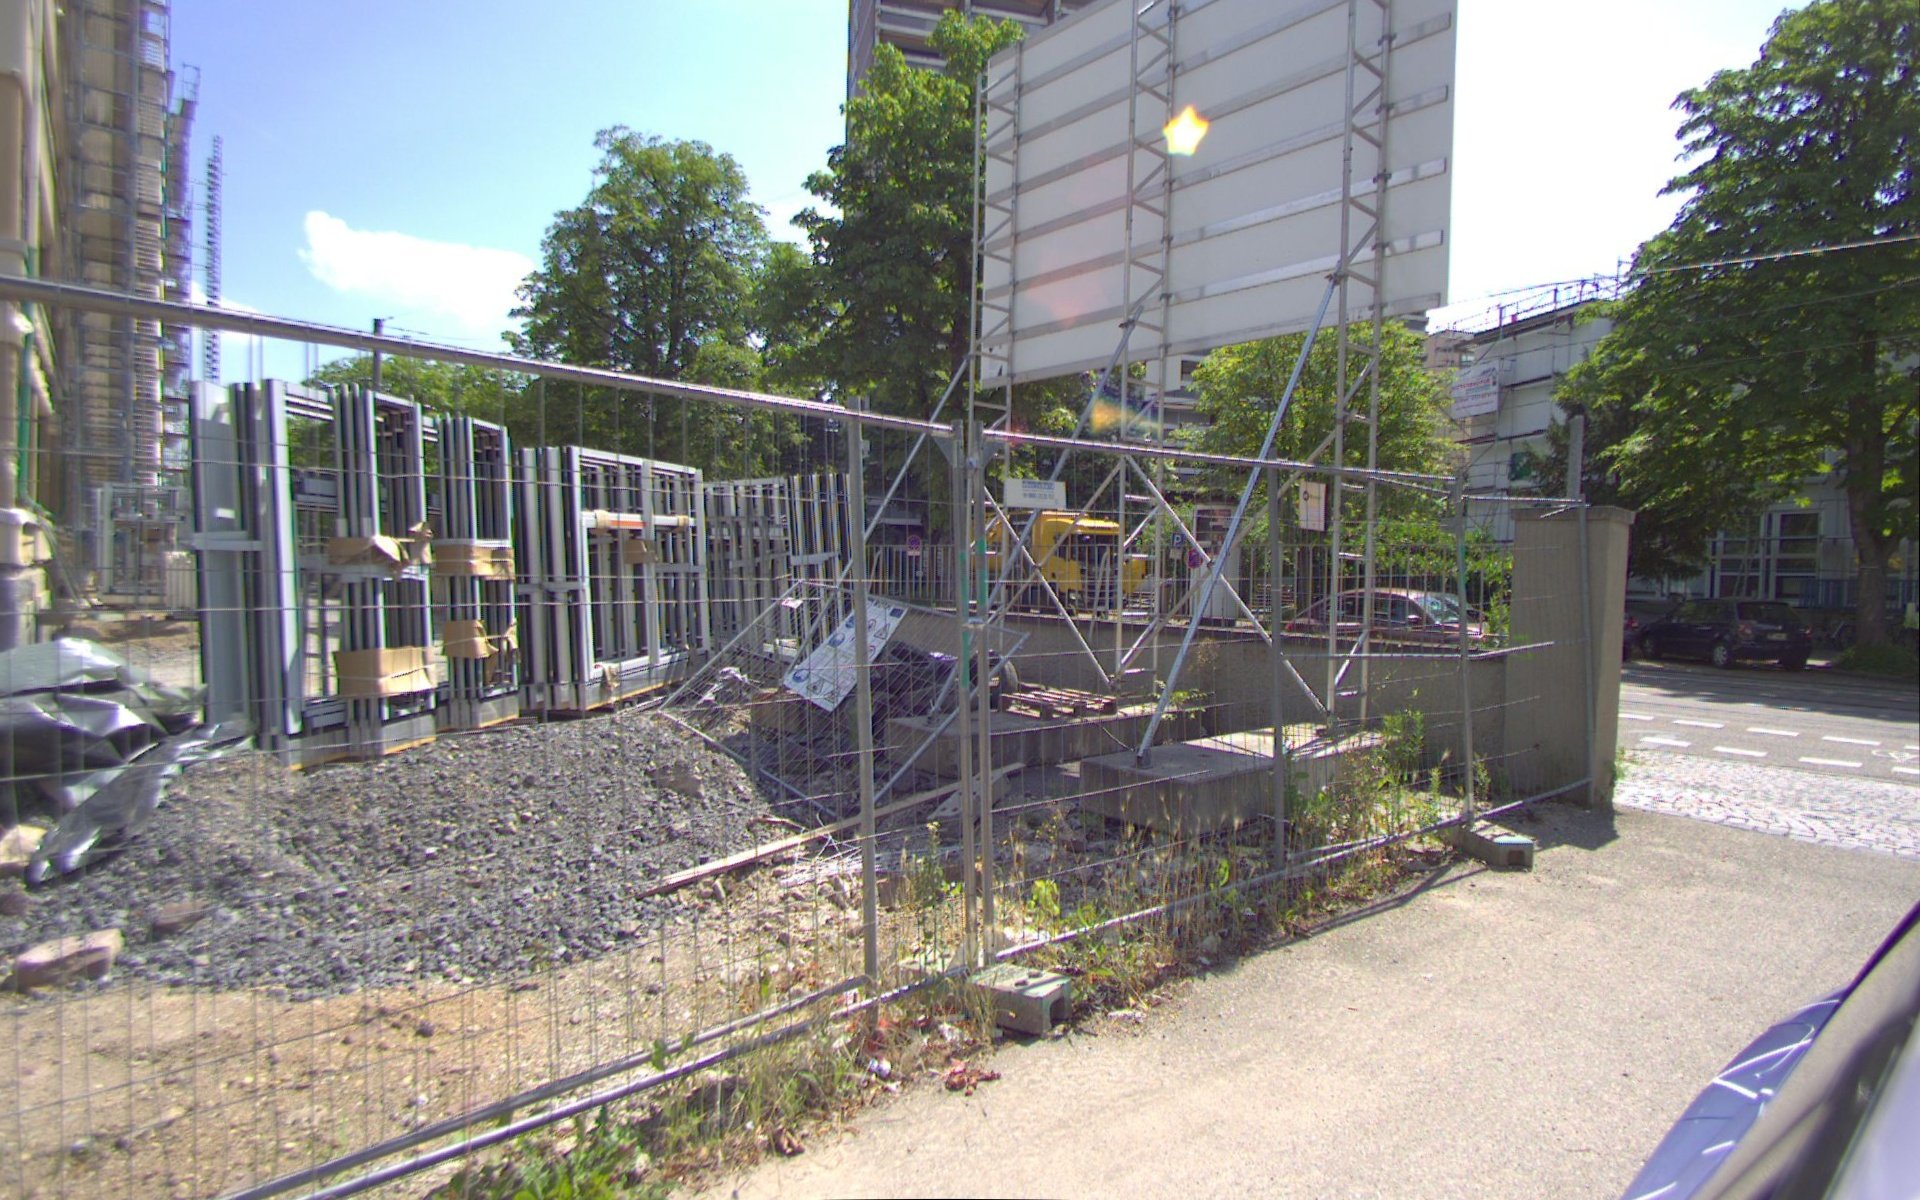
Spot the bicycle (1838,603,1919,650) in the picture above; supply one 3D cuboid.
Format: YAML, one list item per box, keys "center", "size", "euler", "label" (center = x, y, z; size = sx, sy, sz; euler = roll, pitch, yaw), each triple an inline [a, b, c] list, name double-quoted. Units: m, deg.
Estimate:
- center: [24.048, 0.689, 26.486]
  size: [1.887, 1.144, 0.570]
  euler: [2, 1, -13]
  label: "bicycle"

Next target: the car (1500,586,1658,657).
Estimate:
- center: [14.836, 0.446, 24.525]
  size: [1.790, 1.481, 4.013]
  euler: [2, 1, 9]
  label: "car"

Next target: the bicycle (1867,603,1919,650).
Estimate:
- center: [24.178, 0.686, 25.723]
  size: [1.888, 1.144, 0.569]
  euler: [2, 1, -9]
  label: "bicycle"

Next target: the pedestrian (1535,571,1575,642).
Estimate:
- center: [16.161, 0.174, 27.500]
  size: [0.701, 1.898, 0.578]
  euler: [2, 1, -27]
  label: "pedestrian"

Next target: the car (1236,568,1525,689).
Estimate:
- center: [6.890, 0.344, 16.881]
  size: [1.966, 1.709, 3.994]
  euler: [-2, 3, -41]
  label: "car"

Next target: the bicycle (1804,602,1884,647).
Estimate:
- center: [23.767, 0.660, 27.218]
  size: [1.887, 1.144, 0.570]
  euler: [2, 1, -13]
  label: "bicycle"

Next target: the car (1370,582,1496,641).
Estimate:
- center: [12.593, 0.251, 27.232]
  size: [1.600, 1.390, 4.021]
  euler: [2, 1, 2]
  label: "car"

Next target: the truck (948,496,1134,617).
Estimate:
- center: [2.754, -1.601, 38.869]
  size: [2.694, 4.055, 9.765]
  euler: [1, 2, -24]
  label: "truck"

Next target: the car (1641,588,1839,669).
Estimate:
- center: [16.946, 0.552, 22.224]
  size: [1.620, 1.535, 3.574]
  euler: [2, 1, 3]
  label: "car"

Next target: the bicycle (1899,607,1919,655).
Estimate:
- center: [24.312, 0.779, 24.988]
  size: [1.903, 1.144, 0.569]
  euler: [2, 1, -9]
  label: "bicycle"
